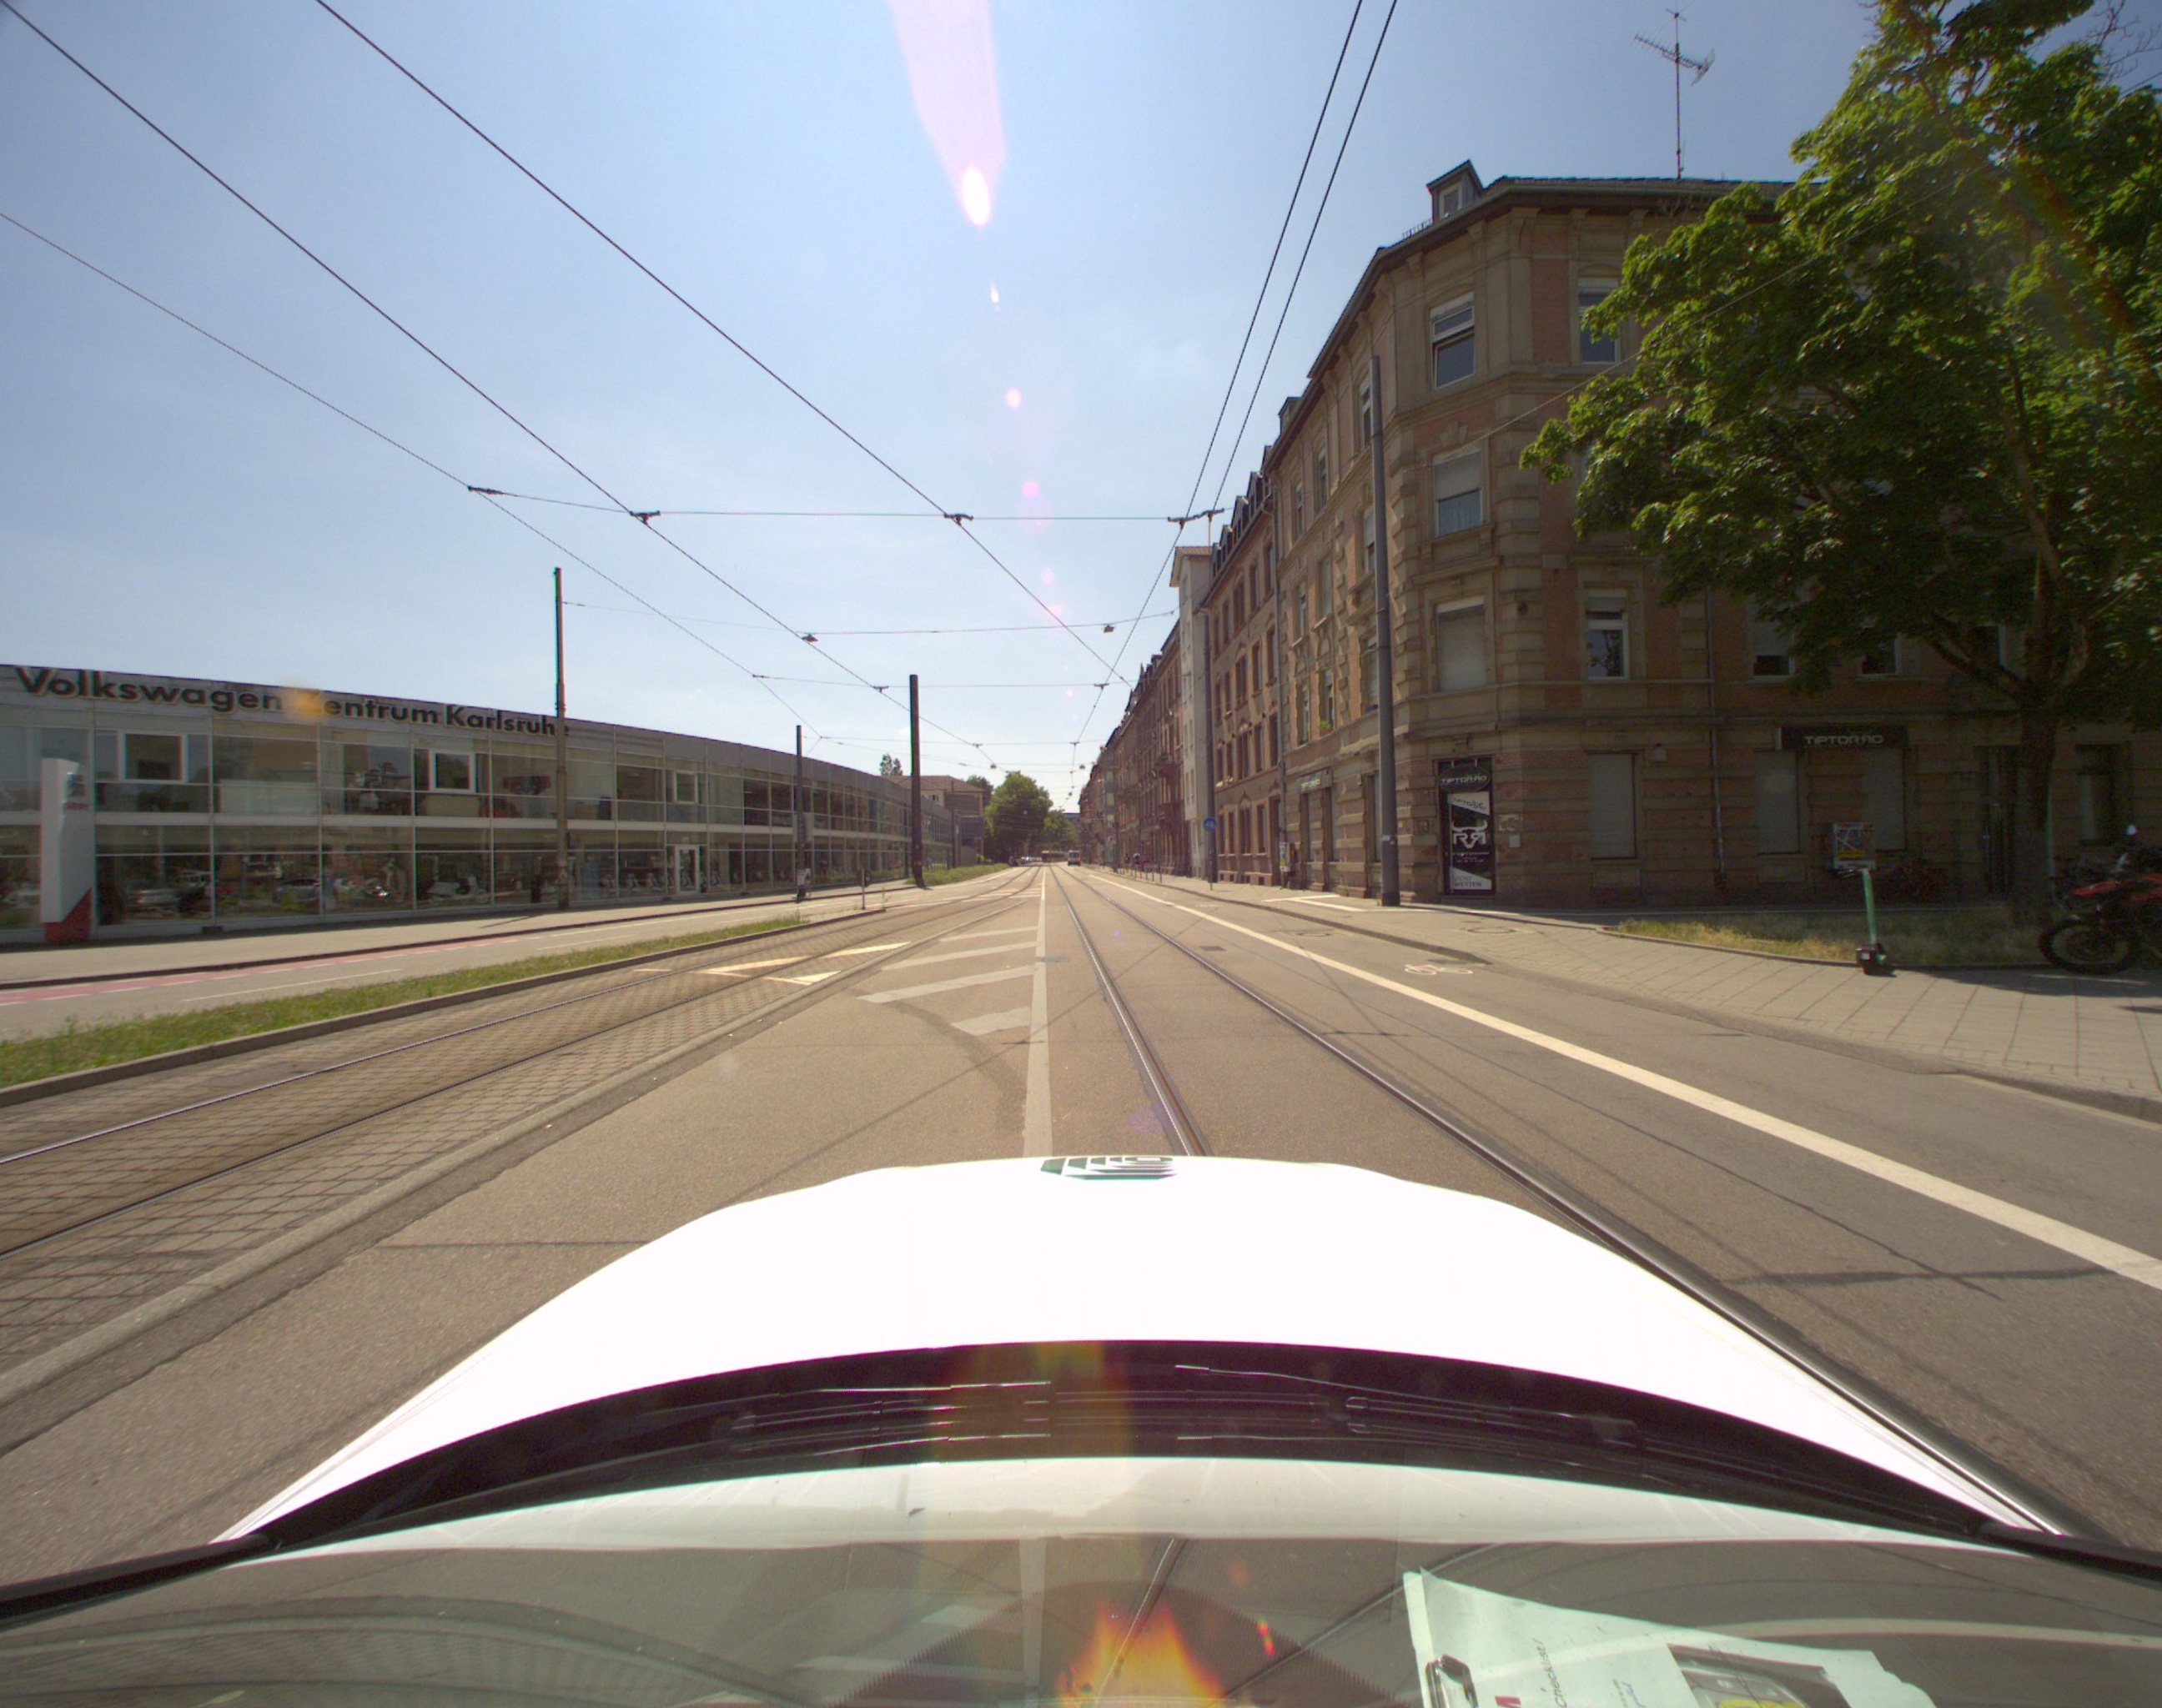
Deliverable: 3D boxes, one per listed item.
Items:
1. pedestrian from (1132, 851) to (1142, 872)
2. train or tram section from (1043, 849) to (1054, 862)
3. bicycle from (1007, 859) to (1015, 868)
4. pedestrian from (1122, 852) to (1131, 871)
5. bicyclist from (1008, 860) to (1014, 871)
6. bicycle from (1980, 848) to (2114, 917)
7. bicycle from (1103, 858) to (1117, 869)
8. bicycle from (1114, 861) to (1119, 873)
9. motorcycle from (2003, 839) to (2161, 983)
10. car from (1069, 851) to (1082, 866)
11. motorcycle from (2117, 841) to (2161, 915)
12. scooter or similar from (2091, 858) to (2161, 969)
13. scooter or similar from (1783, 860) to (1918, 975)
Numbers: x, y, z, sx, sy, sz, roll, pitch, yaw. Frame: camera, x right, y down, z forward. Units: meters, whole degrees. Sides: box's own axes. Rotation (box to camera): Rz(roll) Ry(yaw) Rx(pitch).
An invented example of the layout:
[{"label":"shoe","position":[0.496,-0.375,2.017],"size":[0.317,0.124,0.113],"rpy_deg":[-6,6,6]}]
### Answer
[{"label":"pedestrian","position":[5.069,0.693,73.465],"size":[0.700,1.848,0.643],"rpy_deg":[-5,0,-2]},{"label":"train or tram section","position":[-9.261,0.369,229.747],"size":[2.954,3.580,13.408],"rpy_deg":[-1,0,-3]},{"label":"bicycle","position":[-10.082,1.369,117.134],"size":[0.694,1.144,2.499],"rpy_deg":[-2,0,5]},{"label":"pedestrian","position":[4.074,0.662,73.579],"size":[0.718,1.720,0.643],"rpy_deg":[-2,0,-2]},{"label":"bicyclist","position":[-10.047,1.634,117.319],"size":[0.694,1.548,0.981],"rpy_deg":[-2,0,5]},{"label":"bicycle","position":[17.816,0.515,15.033],"size":[1.875,1.178,0.712],"rpy_deg":[-2,0,-10]},{"label":"bicycle","position":[2.930,0.953,82.504],"size":[0.494,1.130,2.256],"rpy_deg":[-2,0,26]},{"label":"bicycle","position":[3.261,1.183,75.011],"size":[0.446,1.097,2.424],"rpy_deg":[-2,0,3]},{"label":"motorcycle","position":[10.556,0.530,7.656],"size":[0.761,1.362,2.594],"rpy_deg":[-1,-1,-2]},{"label":"car","position":[-0.997,0.735,136.471],"size":[2.062,2.501,5.450],"rpy_deg":[0,0,-1]},{"label":"motorcycle","position":[19.821,0.414,14.718],"size":[1.637,1.290,0.502],"rpy_deg":[-1,0,-4]},{"label":"scooter or similar","position":[11.558,0.610,8.337],"size":[0.601,1.152,1.374],"rpy_deg":[-1,-1,-12]},{"label":"scooter or similar","position":[8.615,0.663,9.110],"size":[1.530,1.155,0.708],"rpy_deg":[-1,0,-31]}]
